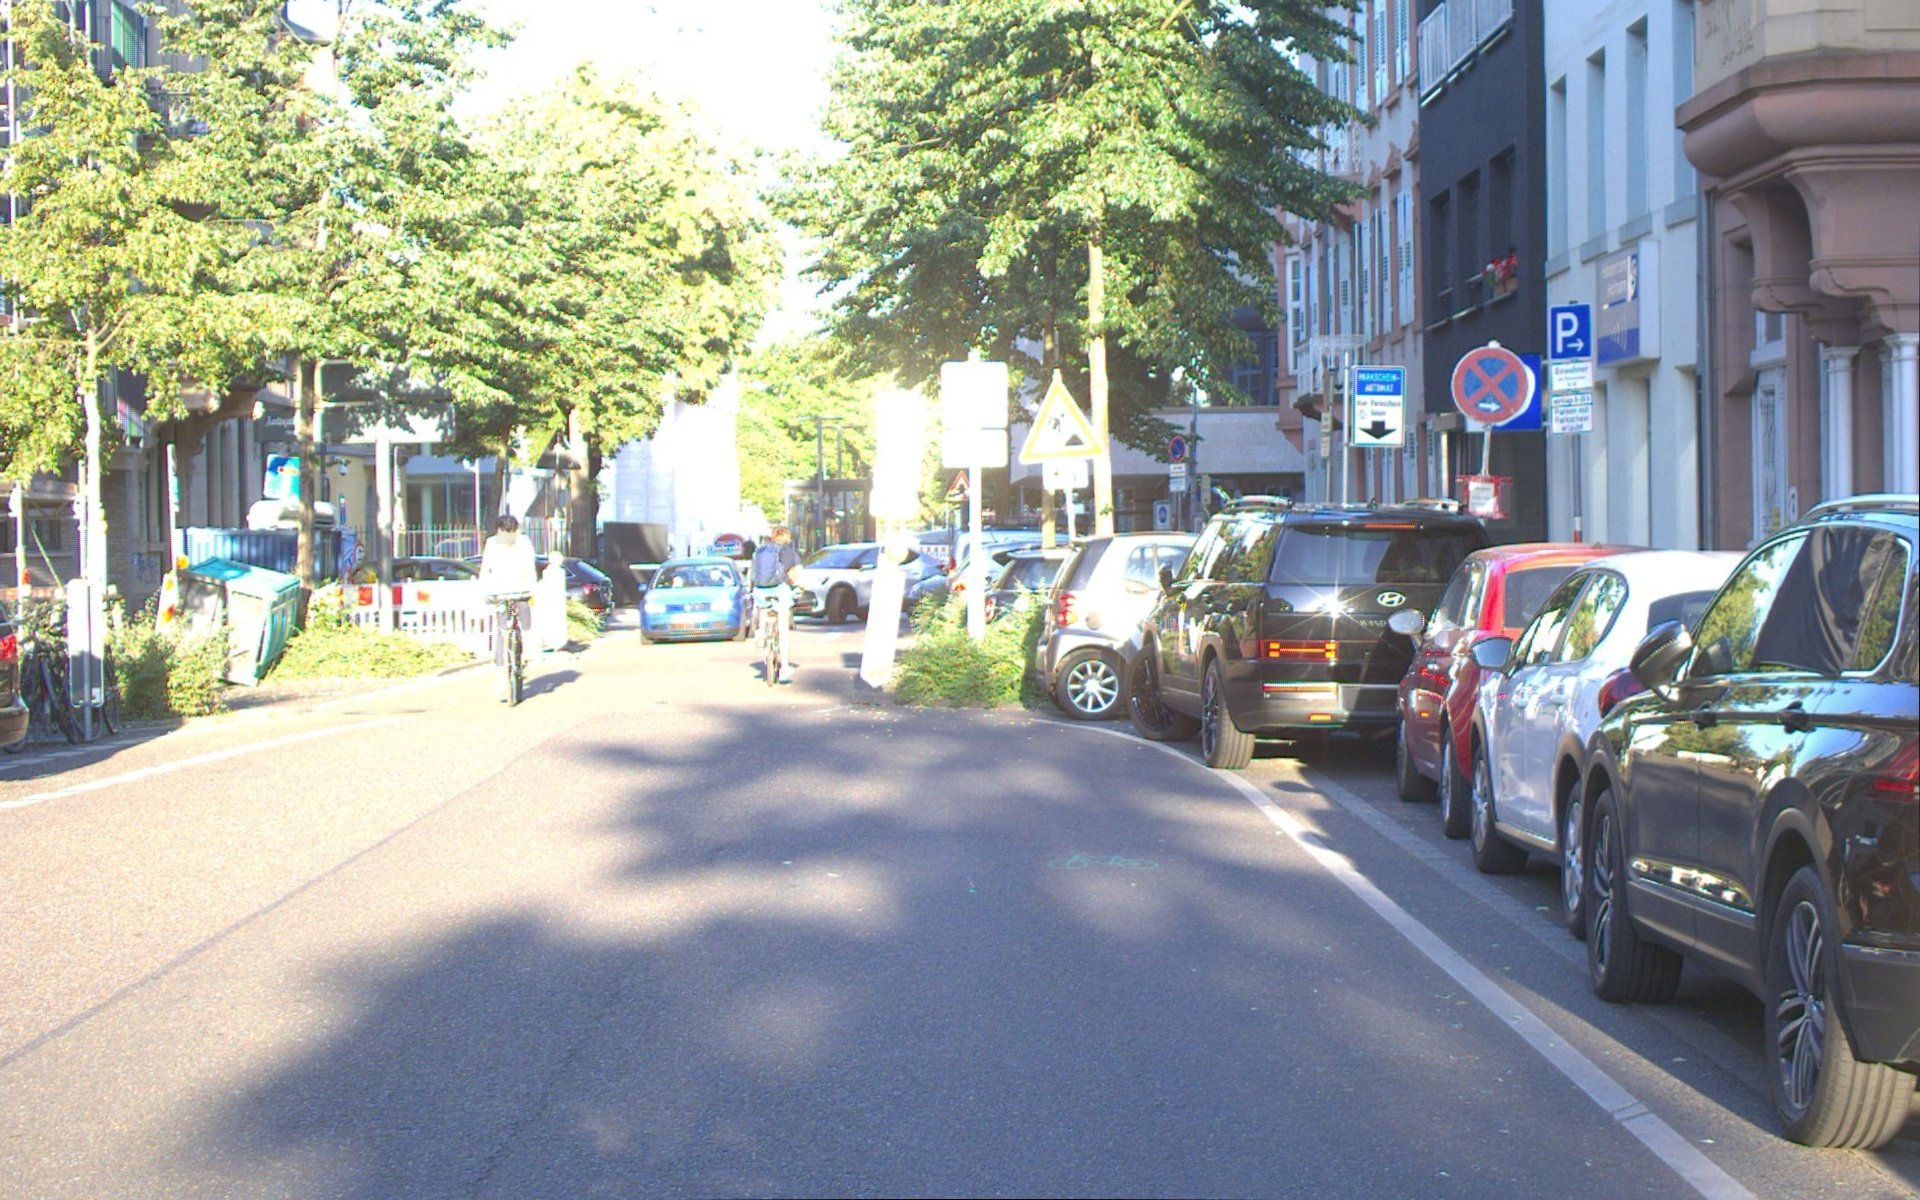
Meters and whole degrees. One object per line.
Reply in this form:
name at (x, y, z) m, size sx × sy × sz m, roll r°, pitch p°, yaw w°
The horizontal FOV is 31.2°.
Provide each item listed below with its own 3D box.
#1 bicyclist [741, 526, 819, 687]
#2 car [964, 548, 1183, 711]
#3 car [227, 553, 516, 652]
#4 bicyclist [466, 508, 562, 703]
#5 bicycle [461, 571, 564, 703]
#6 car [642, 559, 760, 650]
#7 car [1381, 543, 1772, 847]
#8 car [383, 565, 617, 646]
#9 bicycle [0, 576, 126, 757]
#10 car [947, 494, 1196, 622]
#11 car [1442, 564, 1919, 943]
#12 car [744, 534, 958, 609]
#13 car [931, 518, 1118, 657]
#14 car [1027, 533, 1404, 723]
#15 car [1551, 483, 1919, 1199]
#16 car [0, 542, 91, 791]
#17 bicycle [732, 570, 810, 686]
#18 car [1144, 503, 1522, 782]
bicyclist at (-1.929, 0.062, 36.886) m, size 0.780 × 1.690 × 1.007 m, roll -2°, pitch 0°, yaw -2°
car at (1.175, 0.286, 37.698) m, size 1.993 × 1.662 × 4.510 m, roll 1°, pitch 0°, yaw -3°
car at (-9.065, 0.022, 53.135) m, size 4.103 × 1.461 × 1.889 m, roll 1°, pitch 0°, yaw 2°
bicyclist at (-4.263, 0.049, 32.944) m, size 0.780 × 1.823 × 1.007 m, roll -2°, pitch 0°, yaw -2°
bicycle at (-4.267, 0.332, 32.908) m, size 0.780 × 1.200 × 2.021 m, roll -2°, pitch 1°, yaw -3°
car at (-4.338, 0.051, 58.014) m, size 1.838 × 1.436 × 4.332 m, roll 1°, pitch 1°, yaw -3°
car at (3.229, 0.451, 18.538) m, size 1.587 × 1.478 × 3.266 m, roll 1°, pitch 0°, yaw 2°
car at (-8.637, 0.099, 64.795) m, size 4.103 × 1.461 × 1.889 m, roll 1°, pitch 0°, yaw 2°
bicycle at (-7.294, 0.494, 27.651) m, size 0.844 × 1.346 × 3.188 m, roll -1°, pitch 1°, yaw -9°
car at (1.864, -0.693, 56.371) m, size 3.987 × 2.007 × 2.000 m, roll -1°, pitch 1°, yaw 4°
car at (3.124, 0.546, 14.455) m, size 1.666 × 1.373 × 3.802 m, roll 1°, pitch 0°, yaw 0°
car at (-2.189, -0.583, 70.032) m, size 1.889 × 1.475 × 4.449 m, roll 1°, pitch 1°, yaw 39°
car at (0.895, -0.197, 50.925) m, size 2.265 × 1.760 × 4.510 m, roll 5°, pitch 0°, yaw -3°
car at (2.114, 0.223, 28.876) m, size 2.968 × 1.531 × 1.433 m, roll 1°, pitch 0°, yaw -4°
car at (2.950, 0.560, 9.789) m, size 1.812 × 1.662 × 4.206 m, roll 1°, pitch 0°, yaw 0°
car at (-8.265, 0.470, 22.688) m, size 4.498 × 1.596 × 1.998 m, roll -1°, pitch 0°, yaw 17°
bicycle at (-2.019, 0.284, 36.966) m, size 0.780 × 1.200 × 2.021 m, roll -2°, pitch 1°, yaw -3°
car at (2.401, 0.242, 23.192) m, size 1.824 × 1.689 × 4.369 m, roll 1°, pitch 0°, yaw -3°
